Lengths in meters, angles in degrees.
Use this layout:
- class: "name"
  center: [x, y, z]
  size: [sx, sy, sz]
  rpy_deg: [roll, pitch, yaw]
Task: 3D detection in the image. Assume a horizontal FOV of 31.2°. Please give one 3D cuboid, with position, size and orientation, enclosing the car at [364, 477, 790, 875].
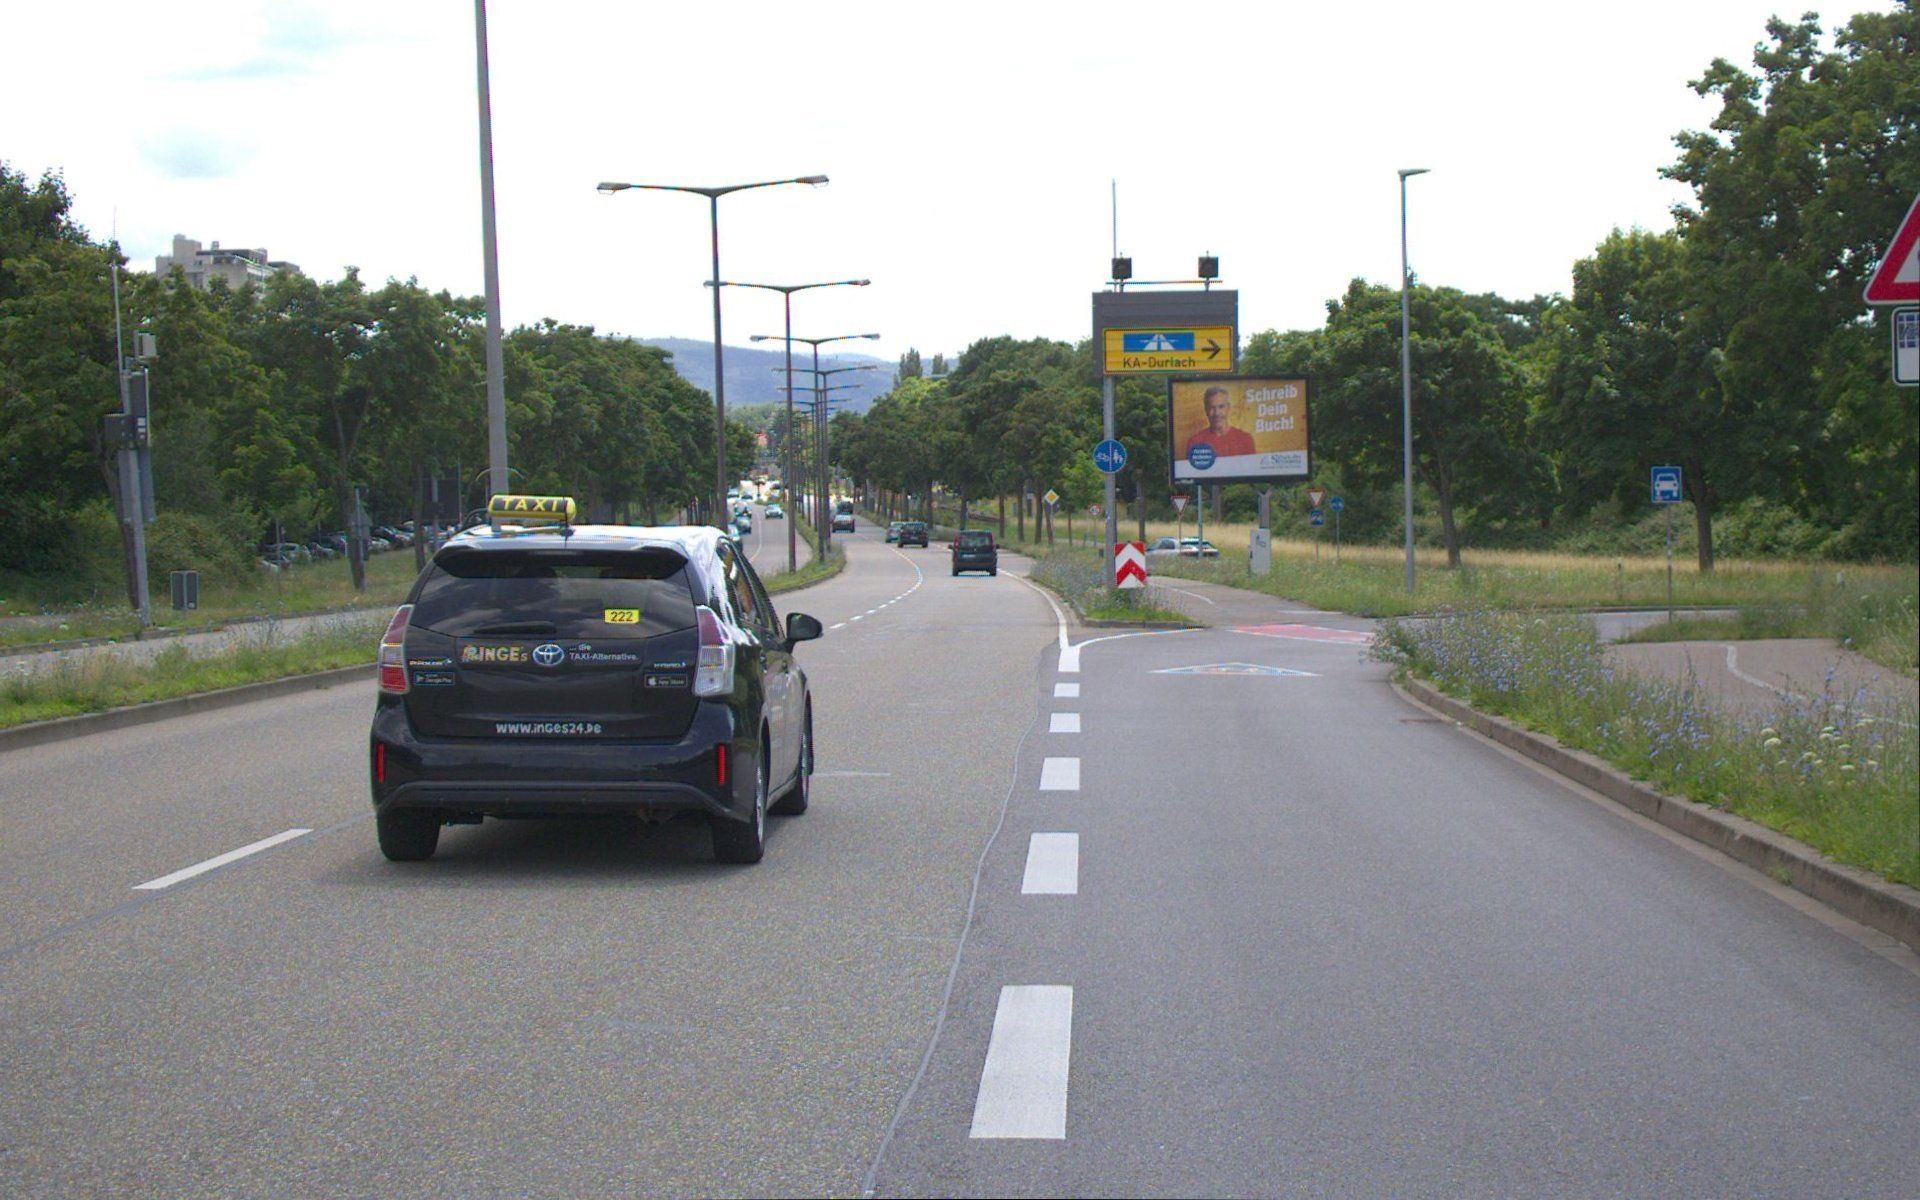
- class: "car"
  center: [-1.751, 0.260, 16.840]
  size: [1.779, 1.678, 4.001]
  rpy_deg: [0, 2, -2]

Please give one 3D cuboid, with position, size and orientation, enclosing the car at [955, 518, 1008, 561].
- class: "car"
  center: [0.842, -2.459, 139.210]
  size: [1.993, 1.656, 4.001]
  rpy_deg: [0, 2, -2]

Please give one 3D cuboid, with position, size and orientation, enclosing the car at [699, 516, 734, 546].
- class: "car"
  center: [-15.417, -4.346, 217.747]
  size: [1.876, 1.784, 4.729]
  rpy_deg: [-3, 1, -1]

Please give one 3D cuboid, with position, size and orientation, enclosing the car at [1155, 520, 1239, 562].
- class: "car"
  center: [9.148, -2.301, 132.901]
  size: [1.993, 1.503, 4.002]
  rpy_deg: [0, 3, -16]
